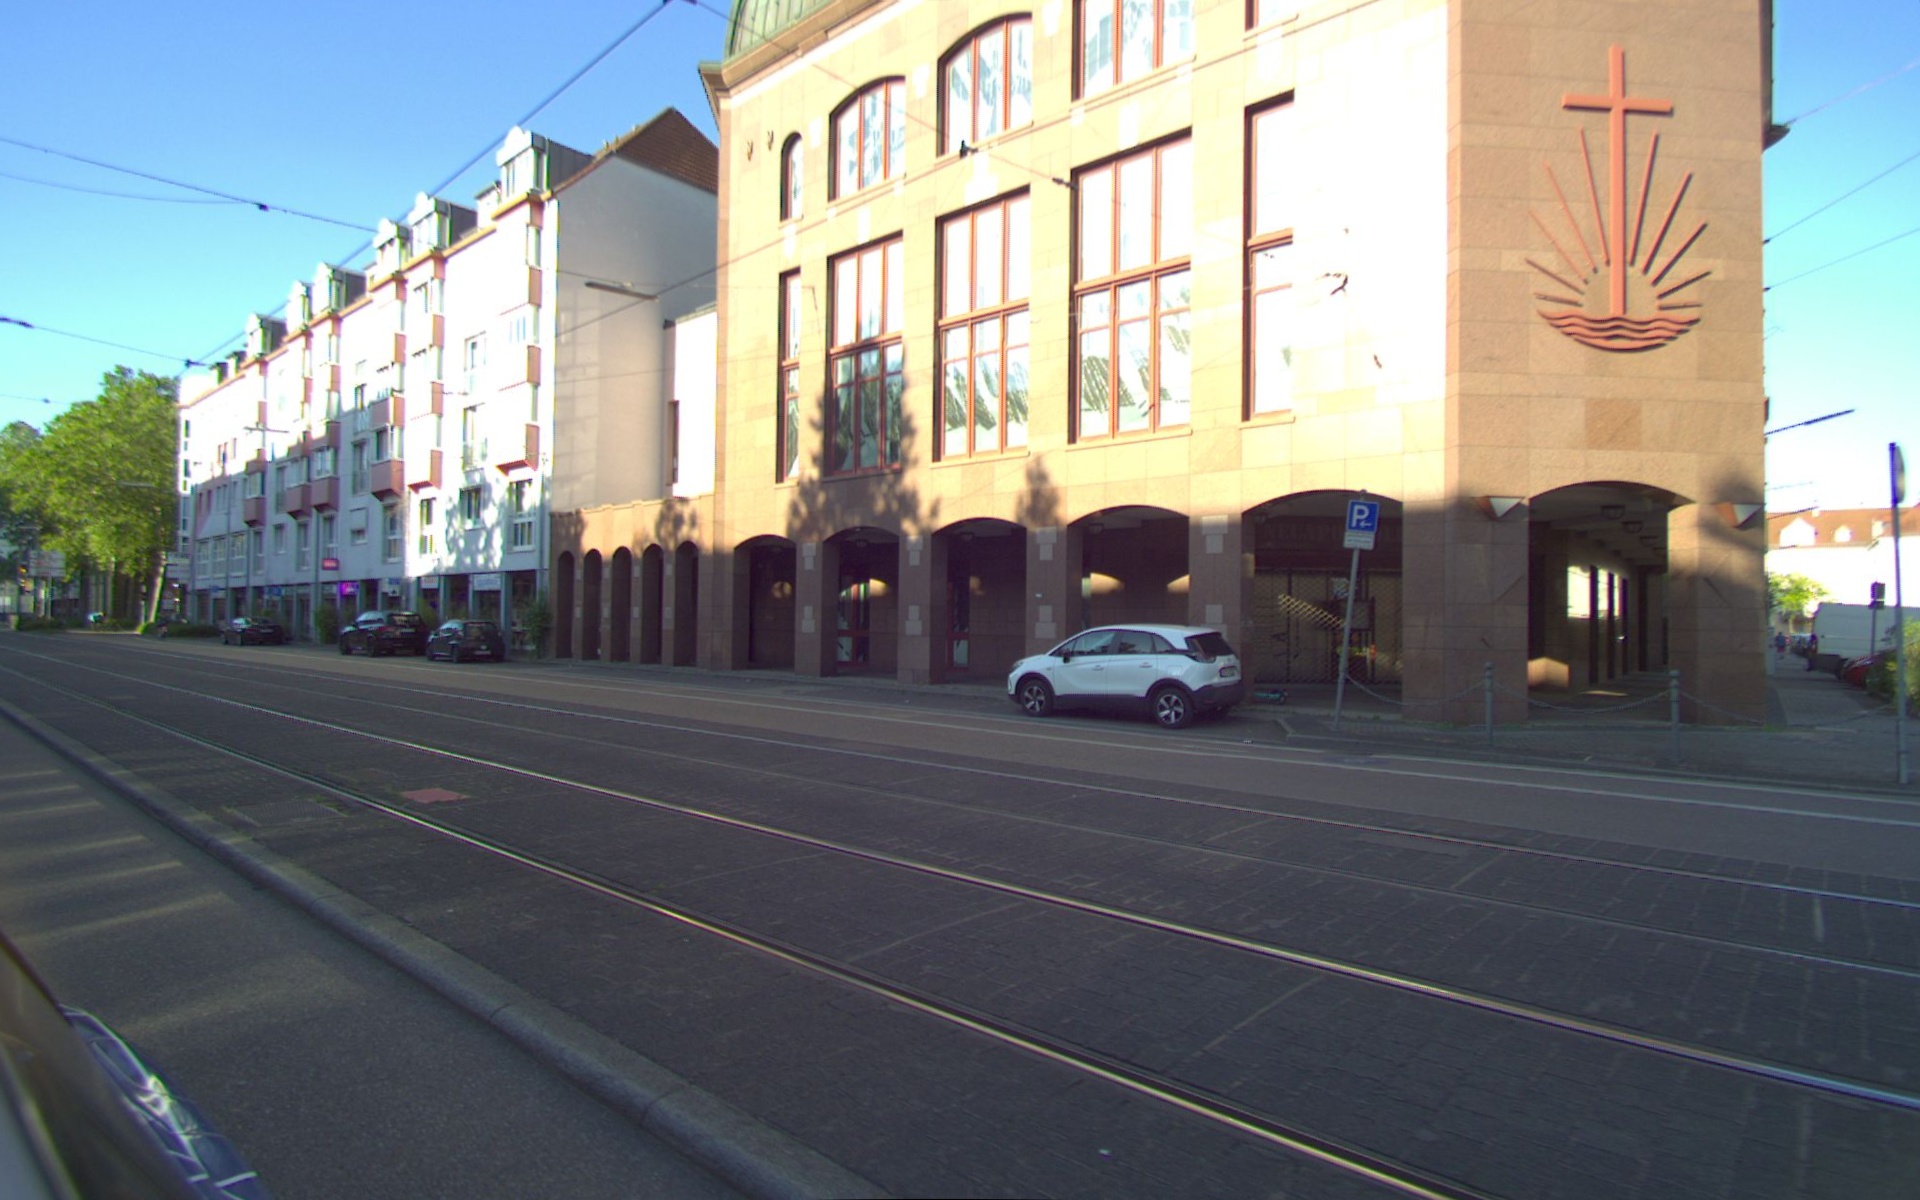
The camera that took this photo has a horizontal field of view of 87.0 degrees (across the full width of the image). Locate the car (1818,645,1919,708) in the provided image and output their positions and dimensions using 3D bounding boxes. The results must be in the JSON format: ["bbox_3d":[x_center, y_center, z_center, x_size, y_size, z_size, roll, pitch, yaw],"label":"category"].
[{"bbox_3d":[25.218,1.971,26.149,4.524,1.585,1.833,-1,-3,38],"label":"car"}]

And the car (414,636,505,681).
[{"bbox_3d":[-17.325,1.986,34.967,3.683,1.411,1.624,-2,-2,43],"label":"car"}]

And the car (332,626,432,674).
[{"bbox_3d":[-22.425,1.886,39.219,4.557,1.713,1.939,-1,-2,40],"label":"car"}]

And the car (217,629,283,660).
[{"bbox_3d":[-36.455,2.251,51.923,4.559,1.520,1.805,-1,-2,42],"label":"car"}]

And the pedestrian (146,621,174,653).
[{"bbox_3d":[-45.239,2.091,57.213,1.080,1.792,1.254,4,-4,-44],"label":"pedestrian"}]

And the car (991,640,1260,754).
[{"bbox_3d":[2.681,1.528,17.027,4.274,1.602,1.579,-1,-1,40],"label":"car"}]

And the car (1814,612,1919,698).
[{"bbox_3d":[29.239,1.648,30.386,5.409,2.562,1.832,-2,-3,39],"label":"car"}]

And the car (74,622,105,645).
[{"bbox_3d":[-65.273,2.484,75.859,2.881,1.686,1.365,-2,-3,42],"label":"car"}]

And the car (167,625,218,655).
[{"bbox_3d":[-47.764,2.499,62.970,4.385,1.811,1.904,-2,-3,45],"label":"car"}]

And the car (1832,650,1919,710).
[{"bbox_3d":[27.206,2.218,27.978,4.524,1.585,1.833,-1,-3,38],"label":"car"}]

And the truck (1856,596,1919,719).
[{"bbox_3d":[23.455,1.317,22.928,4.524,2.784,1.833,-1,-3,38],"label":"truck"}]
